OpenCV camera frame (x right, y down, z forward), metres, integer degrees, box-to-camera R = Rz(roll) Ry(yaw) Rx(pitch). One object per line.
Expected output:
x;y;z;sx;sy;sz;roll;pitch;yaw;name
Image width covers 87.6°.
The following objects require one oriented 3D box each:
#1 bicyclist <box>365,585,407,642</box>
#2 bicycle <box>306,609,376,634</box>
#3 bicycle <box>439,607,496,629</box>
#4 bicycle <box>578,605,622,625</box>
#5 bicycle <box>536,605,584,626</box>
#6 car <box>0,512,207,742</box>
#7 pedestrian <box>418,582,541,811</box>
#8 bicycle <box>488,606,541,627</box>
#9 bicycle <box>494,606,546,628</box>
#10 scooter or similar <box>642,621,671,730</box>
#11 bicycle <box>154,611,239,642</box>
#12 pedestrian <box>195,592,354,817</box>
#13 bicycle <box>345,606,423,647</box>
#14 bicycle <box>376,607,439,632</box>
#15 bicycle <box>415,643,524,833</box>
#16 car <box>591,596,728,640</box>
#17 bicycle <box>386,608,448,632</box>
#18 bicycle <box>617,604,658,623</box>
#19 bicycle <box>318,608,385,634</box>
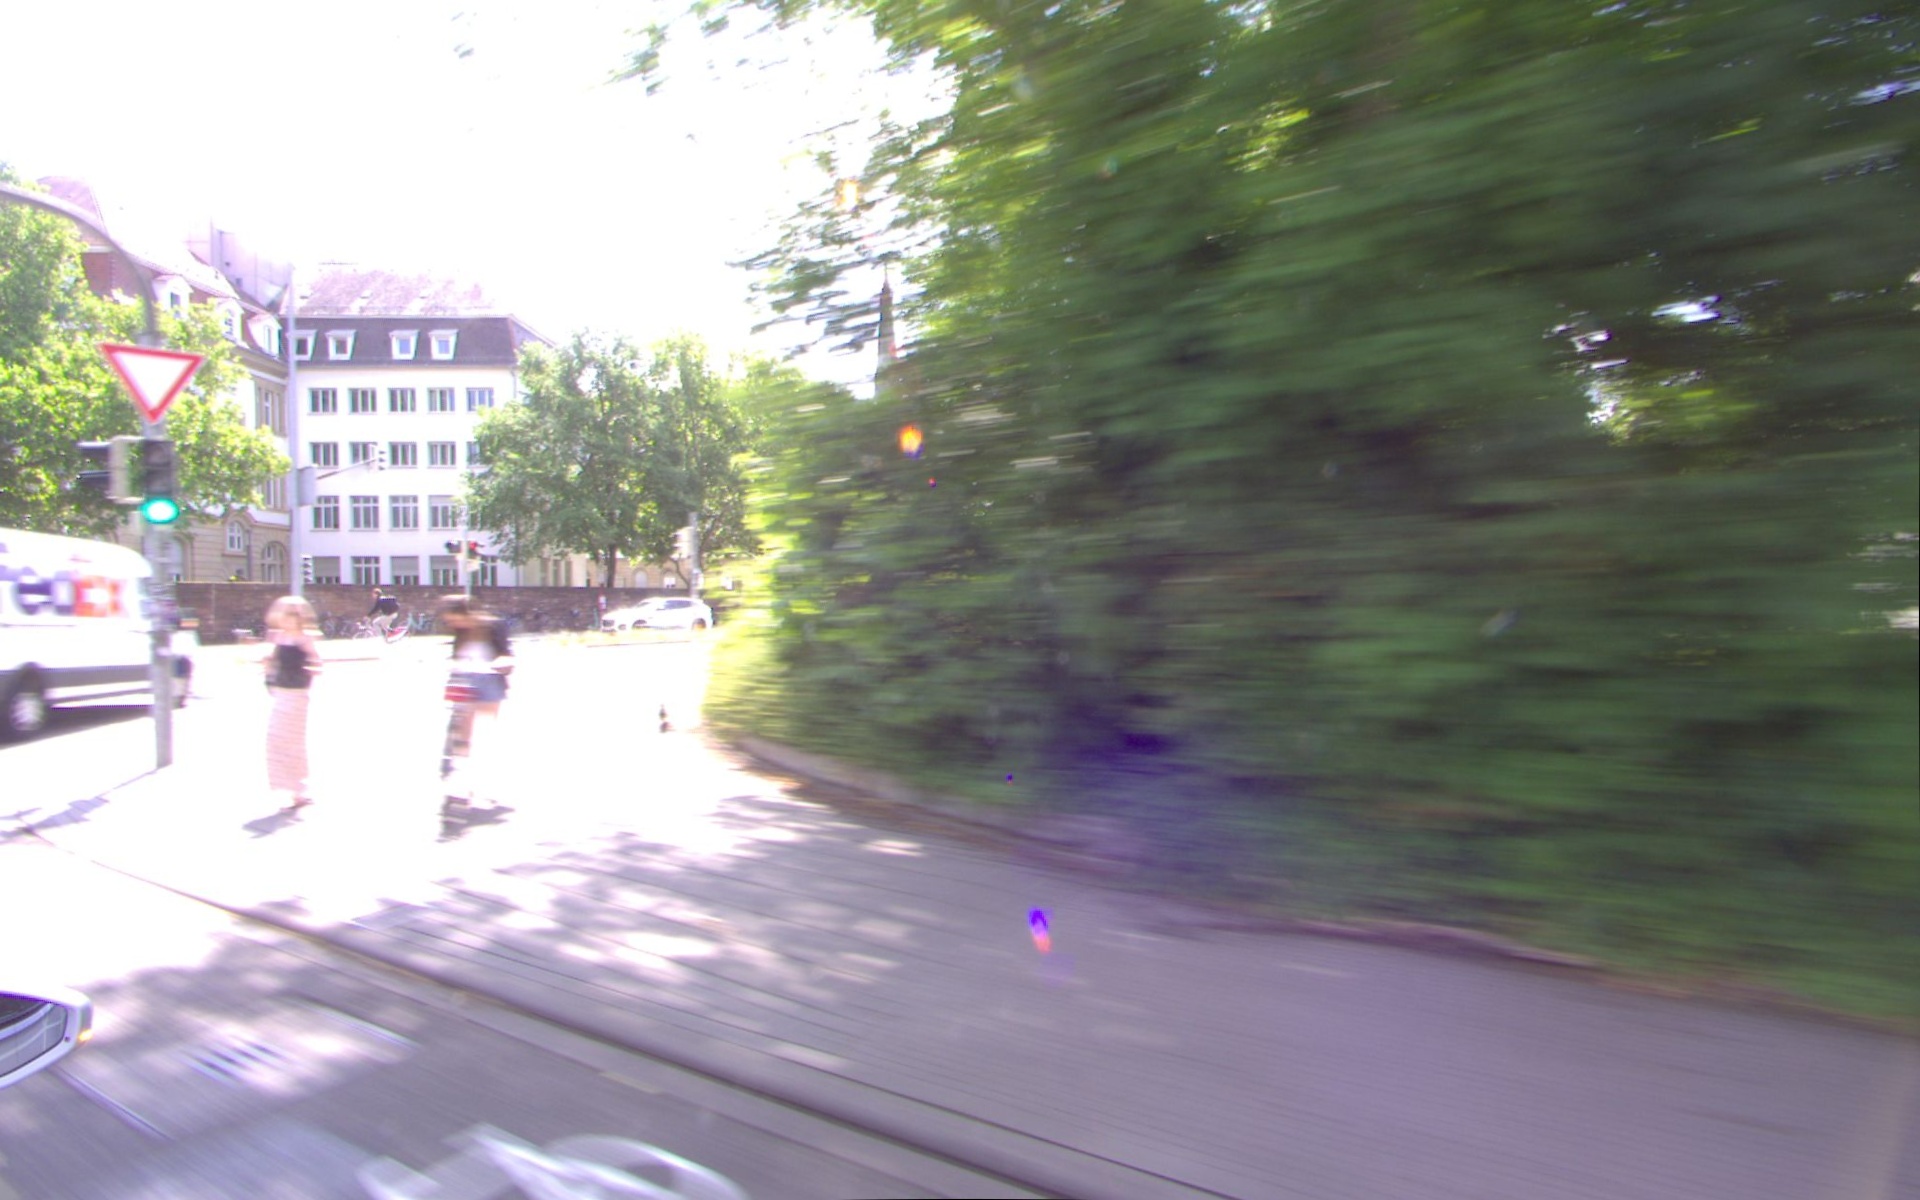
-17.443;0.402;30.429;0.873;1.695;0.684;0;1;-5;bicyclist
-25.525;0.871;41.329;0.742;1.007;2.378;0;0;29;bicycle
-22.844;0.828;46.520;0.742;1.007;2.378;0;0;29;bicycle
-19.247;0.777;53.619;0.742;1.007;2.379;0;0;27;bicycle
-20.432;0.794;51.227;0.742;1.007;2.380;0;0;26;bicycle
-12.447;0.309;13.196;2.065;2.600;5.593;2;-1;-16;car
-3.637;0.684;7.566;0.716;1.597;0.729;-4;2;-29;pedestrian
-21.679;0.799;48.742;0.742;1.007;2.378;0;0;29;bicycle
-21.522;0.818;49.041;0.714;1.007;2.378;0;0;29;bicycle
-3.482;0.836;11.517;0.281;1.162;1.176;-1;1;-15;scooter or similar
-28.155;0.952;36.974;0.742;1.072;2.378;0;0;29;bicycle
-5.289;0.757;7.737;0.765;1.597;0.728;0;3;37;pedestrian
-17.490;0.802;30.437;1.950;1.201;0.681;0;1;-5;bicycle
-24.214;0.843;43.912;0.742;1.007;2.378;0;0;29;bicycle
-3.668;0.936;7.420;0.585;1.142;1.733;-3;2;-29;bicycle
-12.182;0.680;40.971;1.974;1.663;5.270;0;0;36;car
-24.001;0.859;44.302;0.713;1.007;2.378;0;0;29;bicycle
-17.957;0.756;55.817;0.742;1.007;2.379;0;0;27;bicycle
-25.318;0.864;41.707;0.686;1.007;2.378;0;0;29;bicycle
